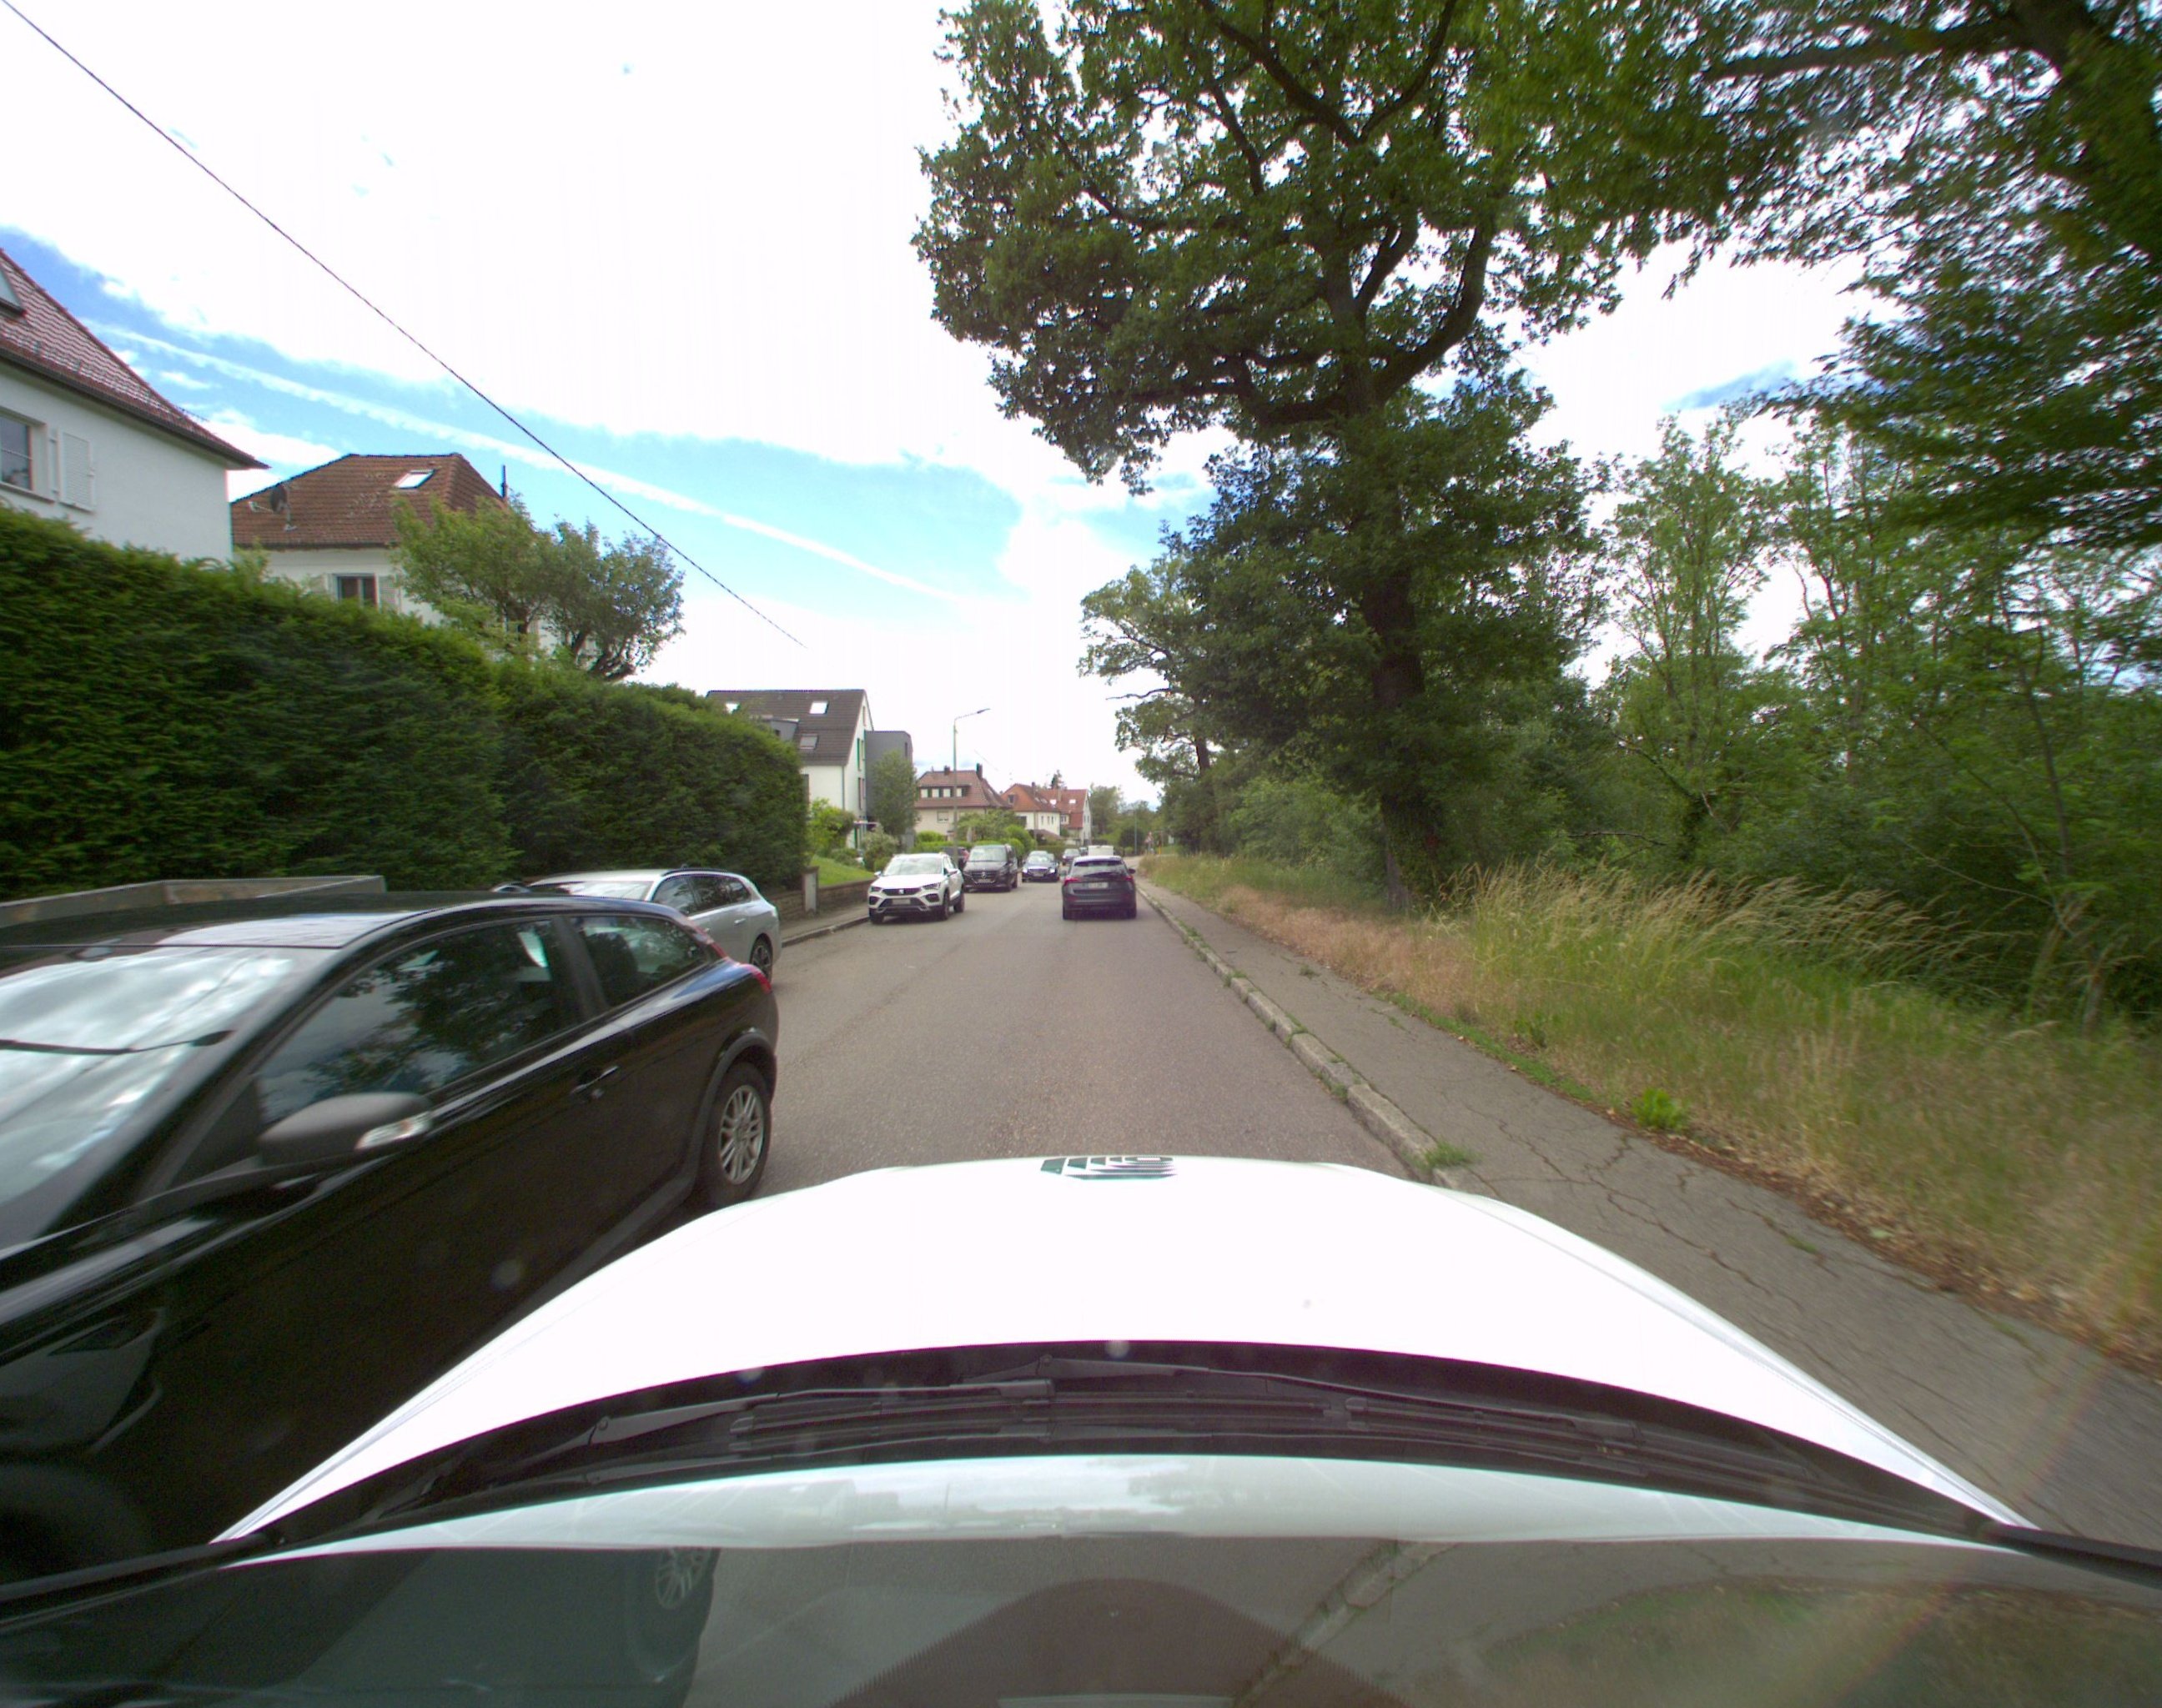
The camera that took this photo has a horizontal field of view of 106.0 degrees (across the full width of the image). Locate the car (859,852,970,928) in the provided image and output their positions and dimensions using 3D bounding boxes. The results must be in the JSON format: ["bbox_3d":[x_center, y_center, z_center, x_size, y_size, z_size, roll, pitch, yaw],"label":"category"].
[{"bbox_3d":[-4.033,0.807,20.477,1.832,1.648,4.185,-2,0,0],"label":"car"}]

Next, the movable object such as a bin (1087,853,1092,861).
[{"bbox_3d":[1.054,0.333,101.515,0.596,0.951,0.580,-1,0,8],"label":"movable object such as a bin"}]

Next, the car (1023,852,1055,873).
[{"bbox_3d":[-2.999,0.579,59.113,1.775,1.500,4.020,0,0,5],"label":"car"}]

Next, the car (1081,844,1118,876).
[{"bbox_3d":[1.098,0.365,51.045,2.066,1.922,4.919,0,0,-2],"label":"car"}]

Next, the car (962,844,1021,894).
[{"bbox_3d":[-3.627,0.582,33.883,1.857,1.926,5.038,0,0,0],"label":"car"}]

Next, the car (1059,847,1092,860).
[{"bbox_3d":[-0.707,-0.083,104.889,3.963,1.618,2.006,-1,0,9],"label":"car"}]

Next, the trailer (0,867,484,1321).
[{"bbox_3d":[-4.551,0.851,2.660,1.757,1.496,4.475,-1,0,2],"label":"trailer"}]

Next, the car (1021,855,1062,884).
[{"bbox_3d":[-1.994,0.748,42.518,1.857,1.414,4.592,0,0,0],"label":"car"}]

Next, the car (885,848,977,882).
[{"bbox_3d":[-8.003,0.573,43.833,4.605,1.697,1.998,-1,0,-3],"label":"car"}]

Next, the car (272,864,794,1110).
[{"bbox_3d":[-4.435,0.909,7.657,1.757,1.499,4.474,-3,0,1],"label":"car"}]

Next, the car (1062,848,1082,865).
[{"bbox_3d":[-0.867,0.214,78.904,1.827,1.597,4.324,0,1,0],"label":"car"}]

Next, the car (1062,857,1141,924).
[{"bbox_3d":[0.411,0.809,20.074,1.723,1.439,4.321,0,0,-2],"label":"car"}]

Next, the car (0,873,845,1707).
[{"bbox_3d":[-2.331,0.858,2.579,1.757,1.446,4.474,-1,0,1],"label":"car"}]

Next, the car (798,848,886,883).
[{"bbox_3d":[-12.747,0.584,43.603,4.112,1.697,1.999,-1,2,-3],"label":"car"}]
